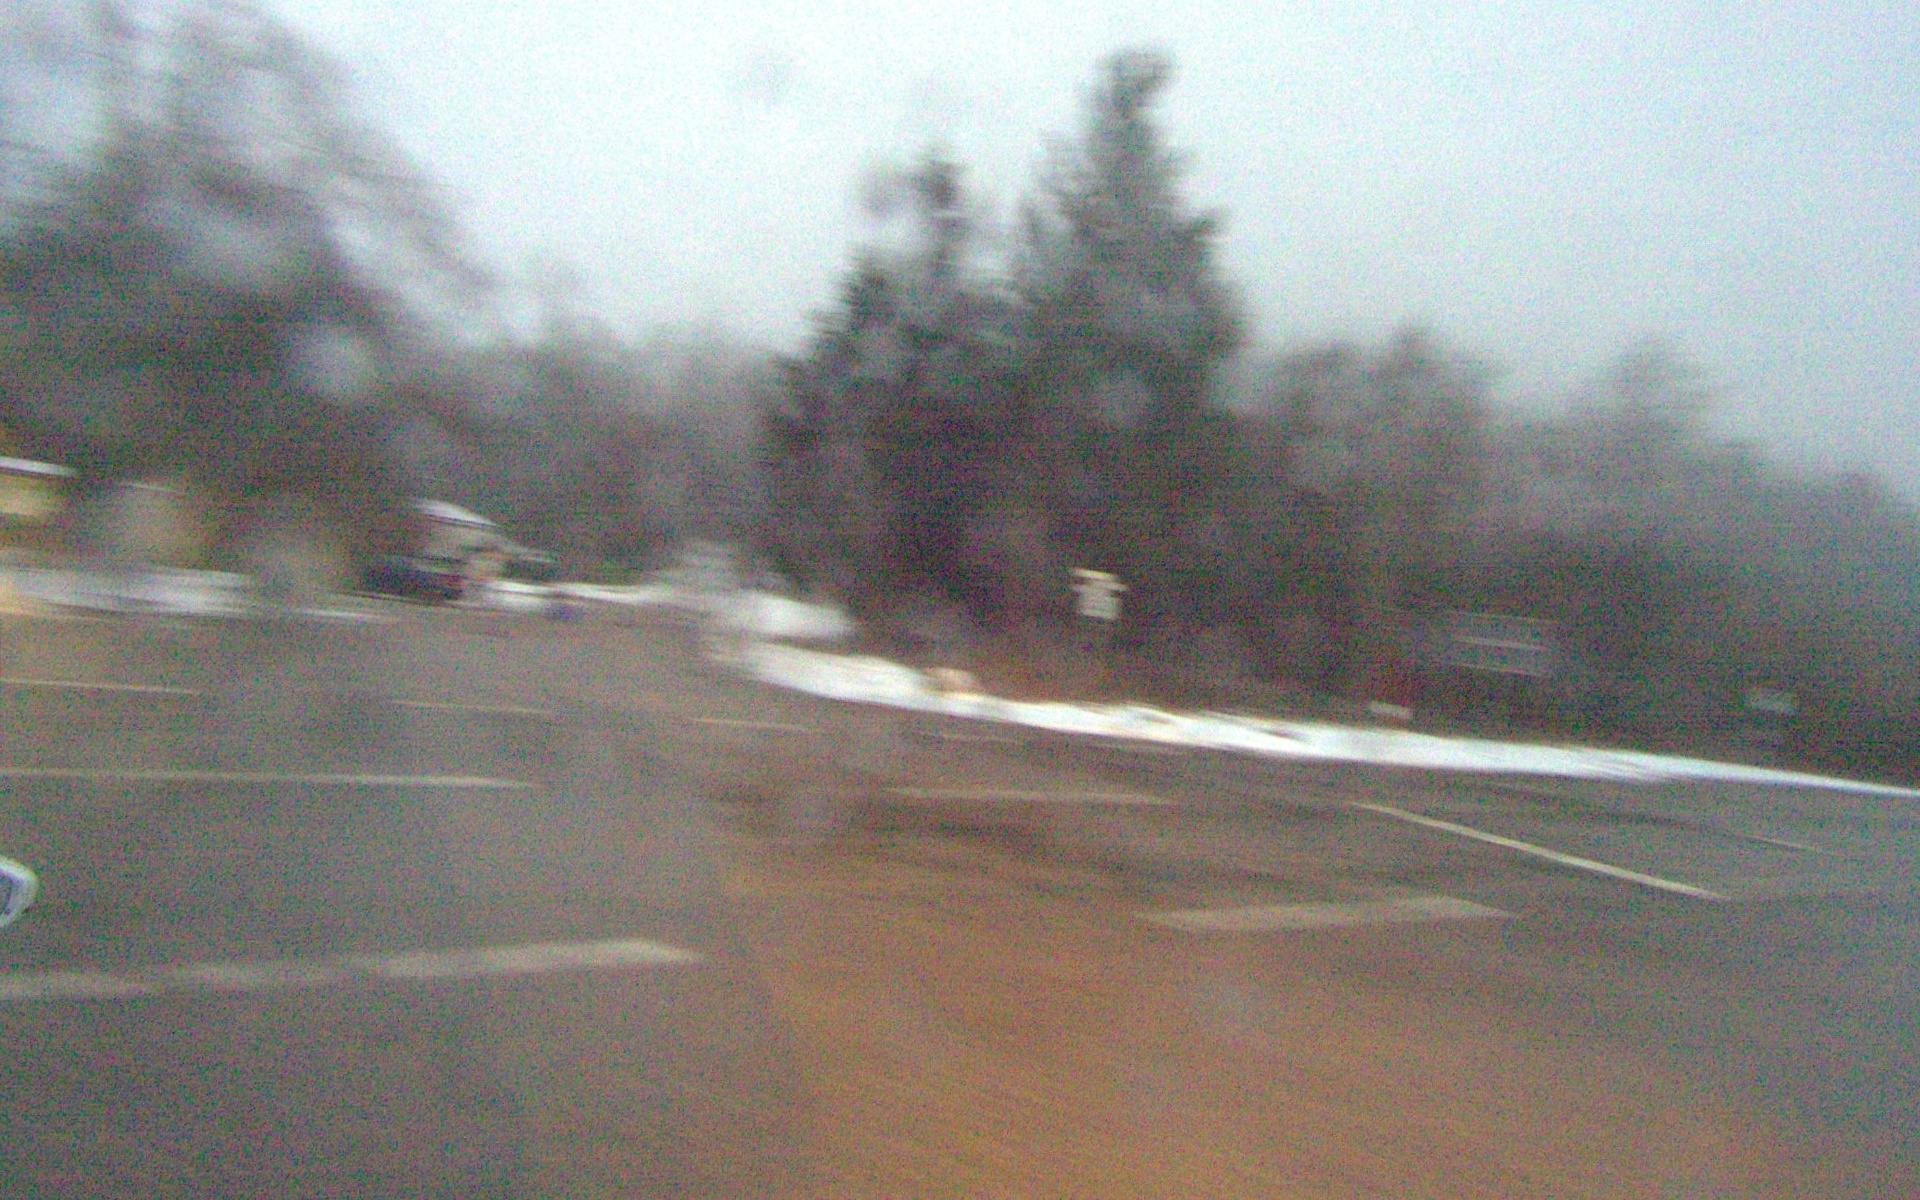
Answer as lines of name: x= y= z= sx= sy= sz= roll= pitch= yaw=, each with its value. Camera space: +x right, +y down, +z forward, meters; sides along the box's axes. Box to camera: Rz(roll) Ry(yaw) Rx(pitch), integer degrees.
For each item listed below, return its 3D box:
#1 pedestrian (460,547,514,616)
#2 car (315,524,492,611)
pedestrian: x=-13.807 y=-0.536 z=29.397 sx=0.946 sy=1.849 sz=0.925 roll=7 pitch=-1 yaw=-4
car: x=-16.253 y=-0.903 z=29.581 sx=3.894 sy=1.902 sz=1.998 roll=8 pitch=-2 yaw=-9
